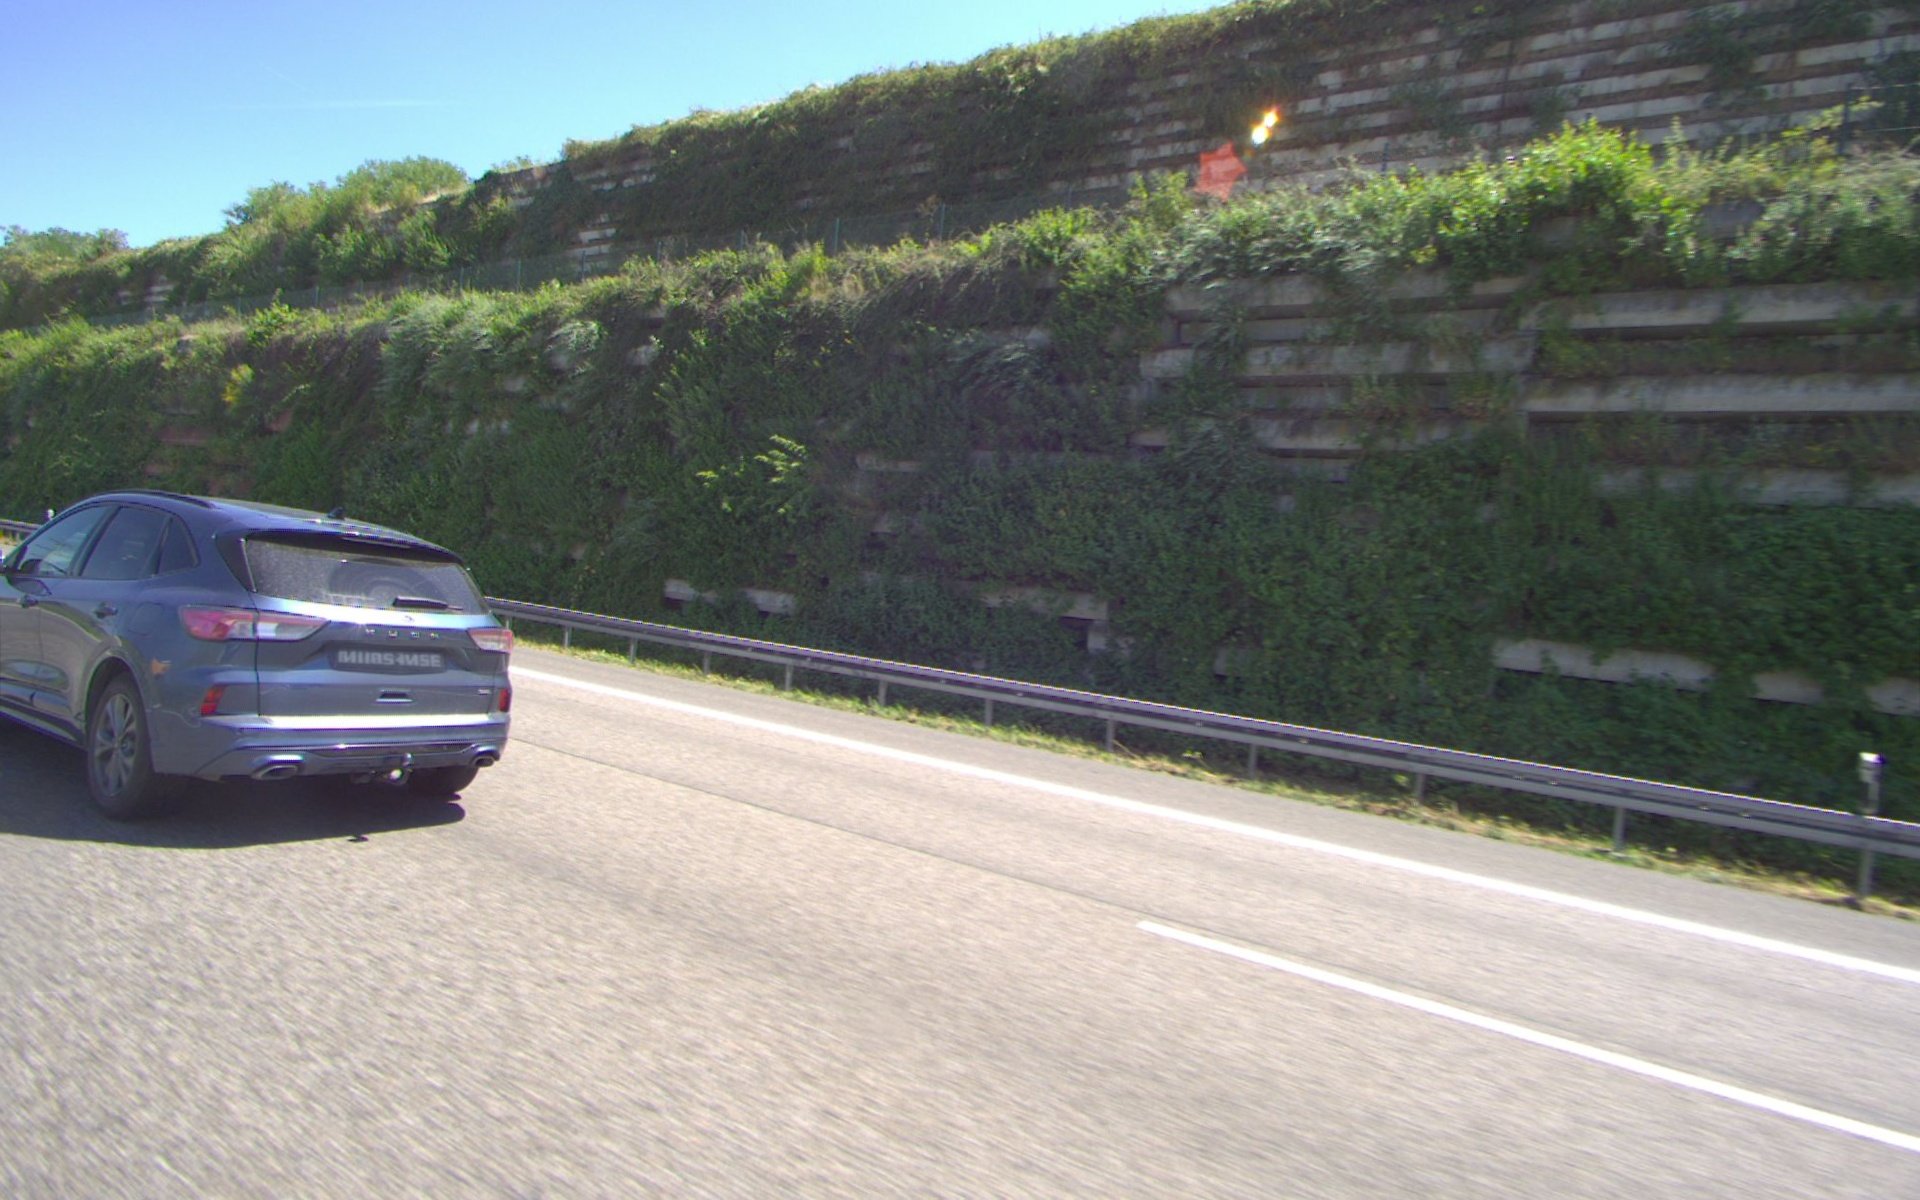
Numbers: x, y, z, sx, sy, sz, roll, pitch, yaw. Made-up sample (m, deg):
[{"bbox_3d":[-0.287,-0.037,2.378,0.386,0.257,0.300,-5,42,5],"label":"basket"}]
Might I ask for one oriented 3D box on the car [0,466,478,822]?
[{"bbox_3d":[-5.326,0.115,6.672,4.069,1.673,1.797,7,-1,32],"label":"car"}]
